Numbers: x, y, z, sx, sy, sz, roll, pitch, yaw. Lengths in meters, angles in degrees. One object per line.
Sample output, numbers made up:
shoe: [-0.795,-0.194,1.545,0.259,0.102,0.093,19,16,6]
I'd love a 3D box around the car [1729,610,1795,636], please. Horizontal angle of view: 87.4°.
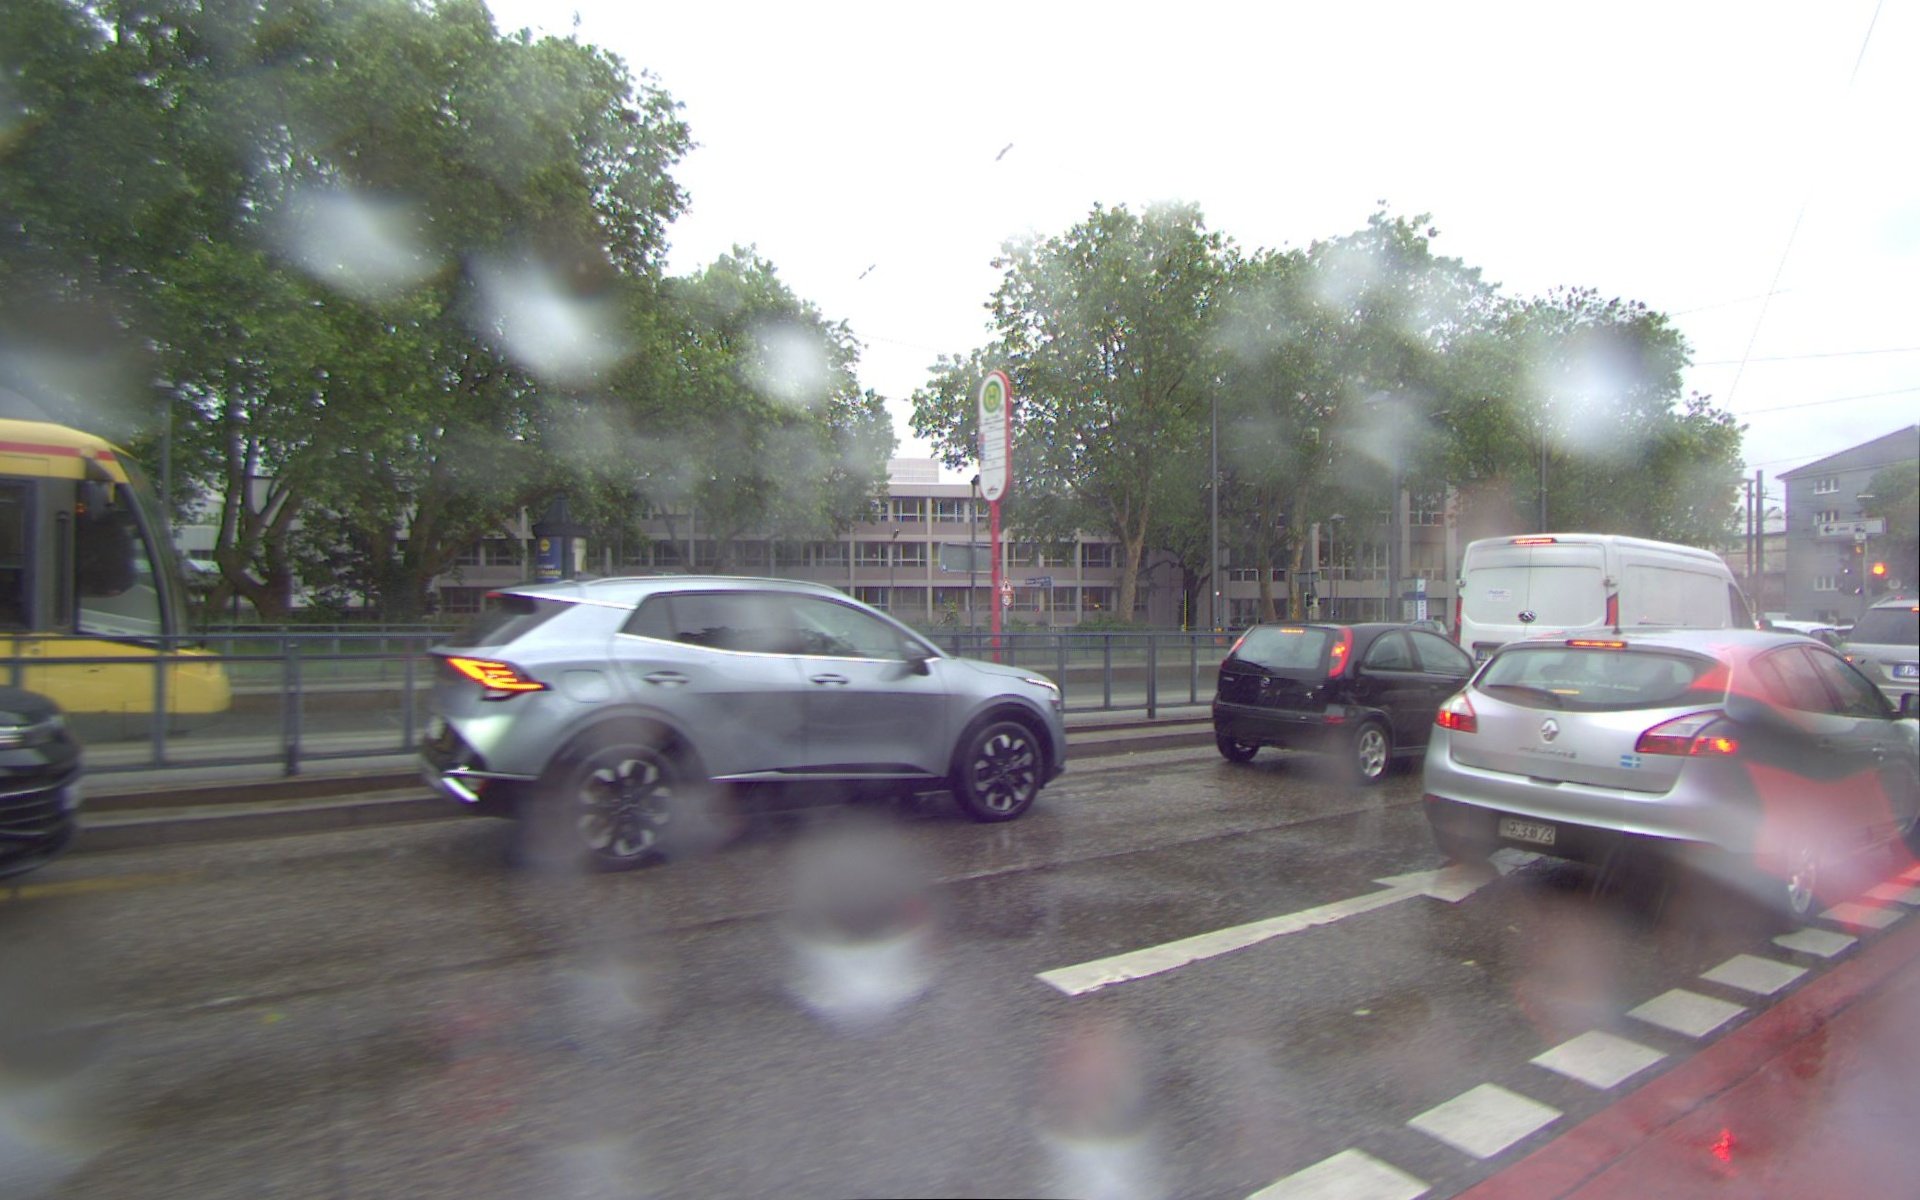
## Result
car: [71.310,2.018,89.335,4.702,2.228,1.996,0,2,-11]

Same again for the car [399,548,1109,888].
car: [-1.243,0.628,6.914,4.410,1.645,1.902,2,-1,-35]

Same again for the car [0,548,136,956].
car: [-5.941,0.575,3.740,4.279,1.642,1.980,1,-1,-36]

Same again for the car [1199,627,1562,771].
car: [4.332,0.883,10.101,4.047,1.132,1.453,1,0,-36]

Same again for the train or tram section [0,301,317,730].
train or tram section: [-13.231,-0.843,6.281,15.353,3.459,3.516,1,1,-36]

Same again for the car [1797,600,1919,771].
car: [11.921,0.957,11.895,4.418,1.794,2.011,1,0,-35]

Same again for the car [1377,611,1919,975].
car: [4.497,0.867,6.132,3.961,1.497,1.756,1,0,-35]

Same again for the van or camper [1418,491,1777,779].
van or camper: [8.841,0.441,13.696,5.795,3.183,2.143,1,0,-36]

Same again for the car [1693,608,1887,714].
car: [14.492,1.005,17.497,3.797,1.650,1.634,1,-1,-34]
